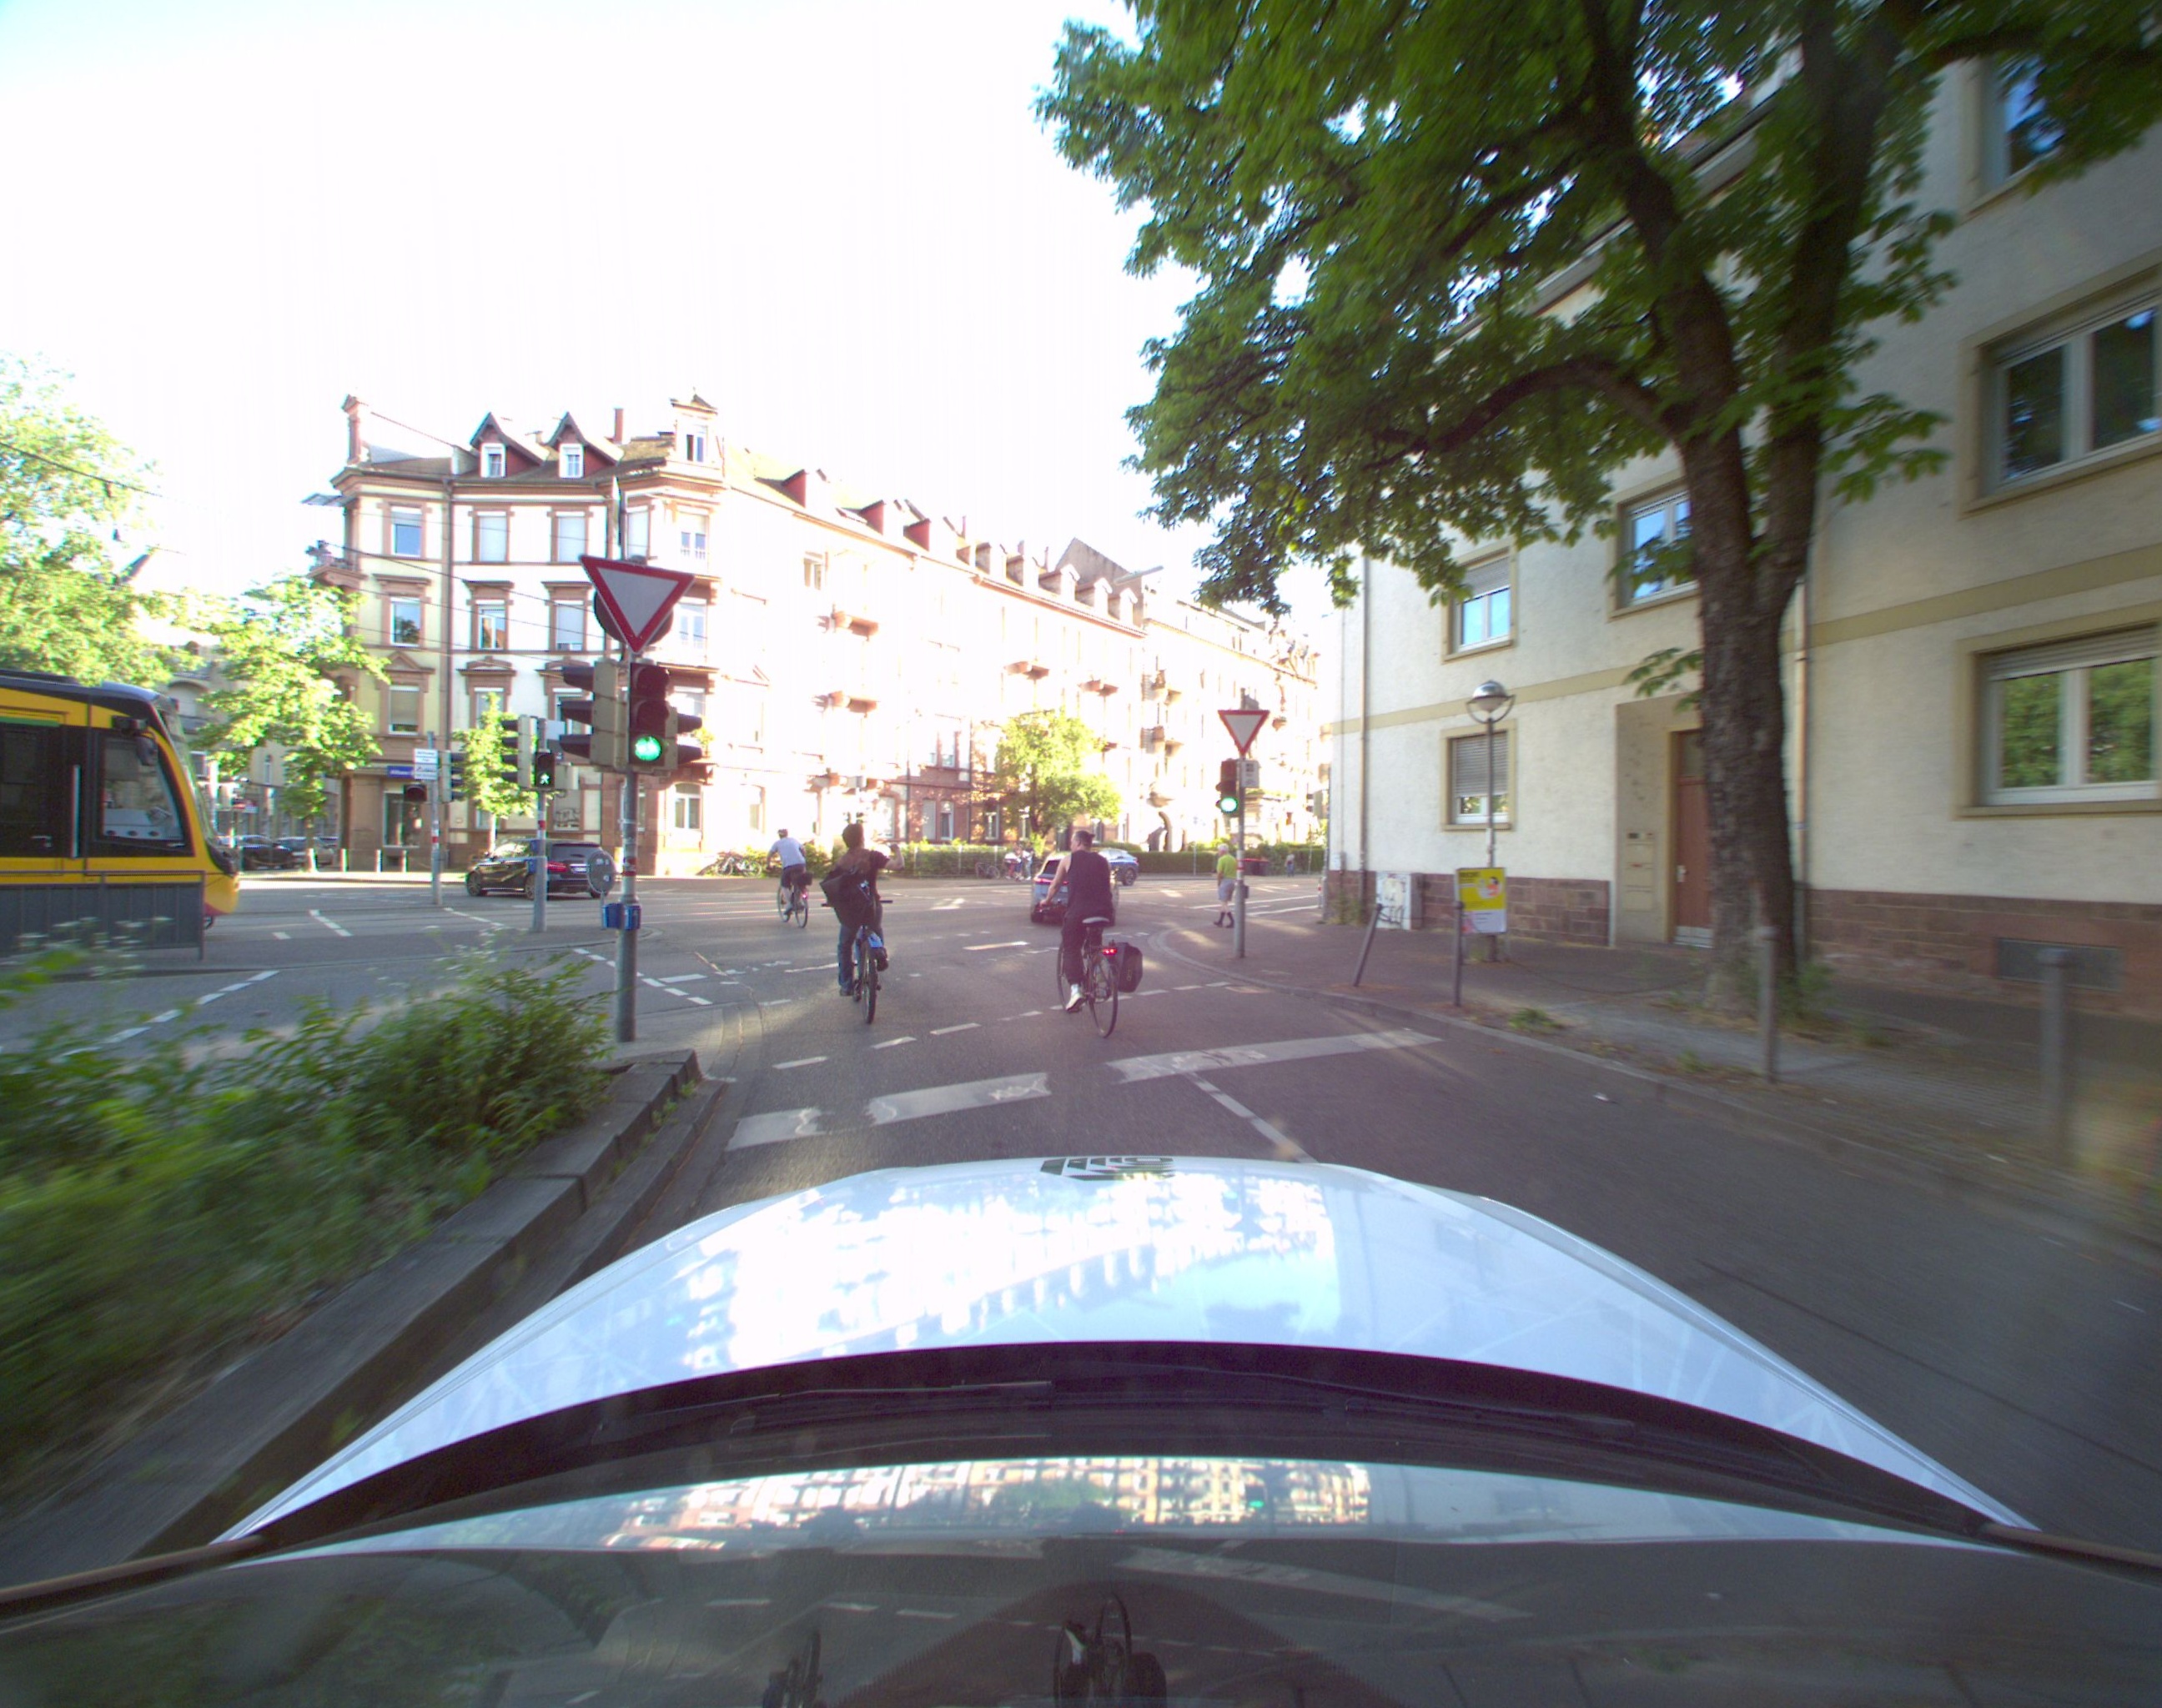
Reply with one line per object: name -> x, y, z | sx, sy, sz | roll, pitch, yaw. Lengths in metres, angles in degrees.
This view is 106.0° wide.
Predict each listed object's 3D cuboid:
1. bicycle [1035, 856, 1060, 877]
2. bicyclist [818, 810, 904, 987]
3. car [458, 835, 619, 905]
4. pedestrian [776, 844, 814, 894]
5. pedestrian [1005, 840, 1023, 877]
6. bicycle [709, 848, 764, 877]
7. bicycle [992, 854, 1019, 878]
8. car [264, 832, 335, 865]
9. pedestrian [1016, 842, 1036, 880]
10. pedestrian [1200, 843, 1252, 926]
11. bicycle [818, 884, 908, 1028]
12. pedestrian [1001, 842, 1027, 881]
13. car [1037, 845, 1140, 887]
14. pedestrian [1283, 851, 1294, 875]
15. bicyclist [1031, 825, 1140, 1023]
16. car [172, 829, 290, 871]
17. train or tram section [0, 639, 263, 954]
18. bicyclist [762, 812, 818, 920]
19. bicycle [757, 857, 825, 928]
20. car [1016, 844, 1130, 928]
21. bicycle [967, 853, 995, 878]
bicycle -> -1.685, 0.606, 40.491 | 1.240, 1.038, 0.438 | 1, 1, -44
bicyclist -> -2.129, 0.400, 7.809 | 0.709, 1.573, 0.951 | 1, 0, -19
car -> -13.930, 0.329, 20.887 | 3.812, 1.541, 1.806 | 3, 2, 27
pedestrian -> -9.758, 0.511, 27.816 | 0.896, 1.634, 0.728 | 3, 1, 10
pedestrian -> -3.125, 0.204, 37.978 | 0.639, 1.715, 0.516 | 1, 0, -35
bicycle -> -13.882, 0.351, 32.868 | 1.963, 1.107, 0.441 | 3, 0, -15
bicycle -> -3.562, 0.565, 38.660 | 1.240, 1.107, 0.438 | 1, 1, -43
car -> -37.081, -0.256, 38.738 | 1.508, 1.457, 3.180 | 1, 0, -26
pedestrian -> -2.535, 0.306, 37.619 | 0.639, 1.715, 0.657 | 1, 0, -35
pedestrian -> 3.122, 0.640, 17.610 | 0.647, 1.727, 0.880 | -2, 0, -31
bicycle -> -2.138, 0.894, 7.821 | 0.719, 1.107, 1.955 | 1, 0, -18
pedestrian -> -3.002, 0.330, 36.417 | 0.901, 1.664, 0.705 | 1, 3, -31
car -> 0.371, 0.497, 34.848 | 1.924, 1.650, 4.437 | 1, 0, 42
pedestrian -> 13.988, 0.606, 54.820 | 0.497, 1.641, 0.520 | 1, 0, -37
bicyclist -> 0.017, 0.586, 7.408 | 0.688, 1.656, 0.983 | 0, 0, -20
car -> -35.151, -0.171, 33.840 | 1.799, 1.611, 4.336 | 1, 0, -23
train or tram section -> -15.970, -0.726, 7.387 | 2.765, 3.619, 11.872 | 1, 0, 41
bicyclist -> -5.400, 0.210, 15.089 | 0.799, 1.913, 0.936 | 1, 0, -29
bicycle -> -5.399, 0.675, 15.093 | 0.815, 1.185, 2.206 | 1, 0, -29
car -> -0.036, 0.637, 18.606 | 1.960, 1.585, 4.483 | 3, 0, 7
bicycle -> -4.634, 0.515, 37.711 | 1.240, 1.107, 0.438 | 0, 1, -43
